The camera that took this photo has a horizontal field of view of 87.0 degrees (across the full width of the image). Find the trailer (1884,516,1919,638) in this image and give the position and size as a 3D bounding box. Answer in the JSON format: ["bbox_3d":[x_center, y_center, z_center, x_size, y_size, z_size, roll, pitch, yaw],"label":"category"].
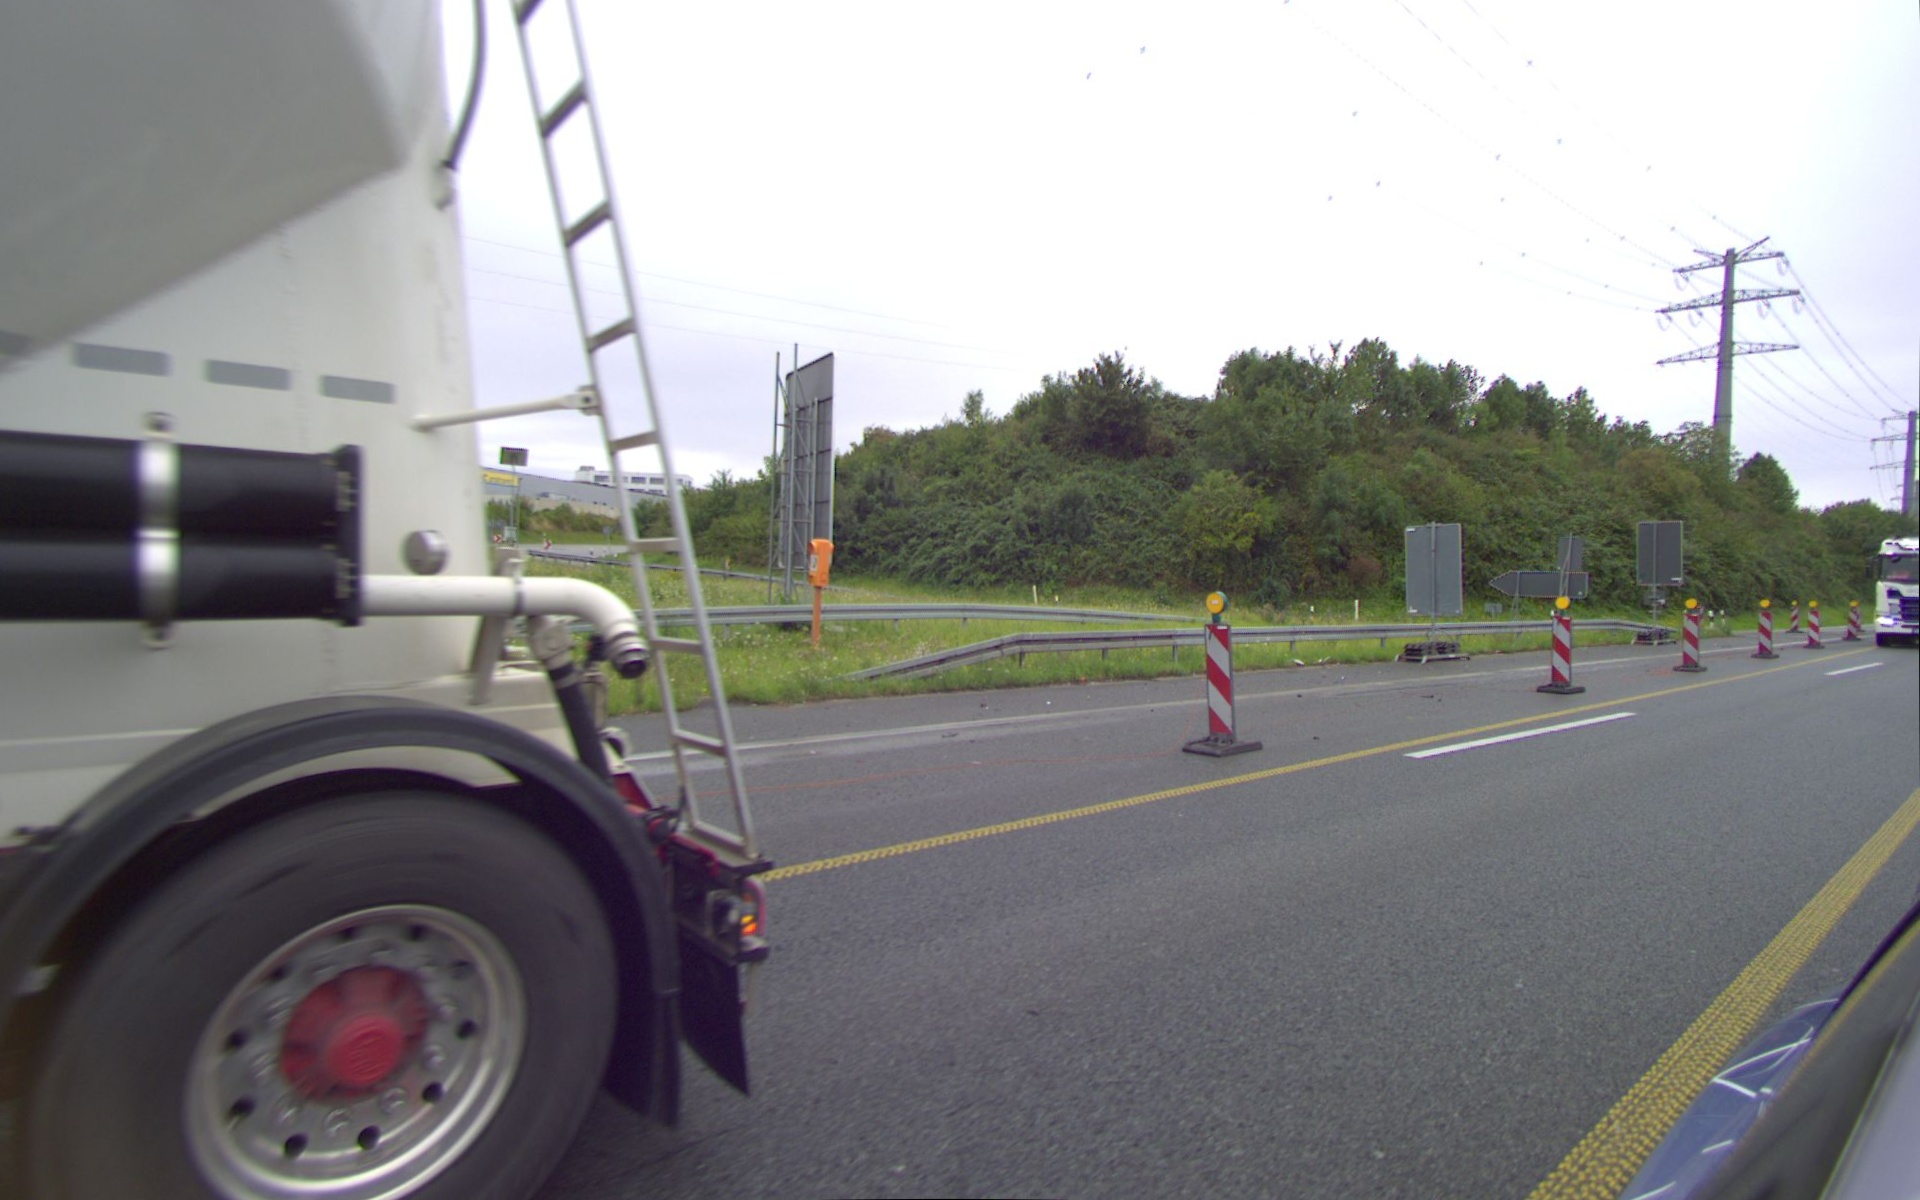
[{"bbox_3d":[37.317,-0.849,37.700,13.905,4.053,2.806,-1,1,-42],"label":"trailer"}]

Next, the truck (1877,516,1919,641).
[{"bbox_3d":[32.798,-0.706,33.718,5.304,3.984,2.745,-1,1,-41],"label":"truck"}]
